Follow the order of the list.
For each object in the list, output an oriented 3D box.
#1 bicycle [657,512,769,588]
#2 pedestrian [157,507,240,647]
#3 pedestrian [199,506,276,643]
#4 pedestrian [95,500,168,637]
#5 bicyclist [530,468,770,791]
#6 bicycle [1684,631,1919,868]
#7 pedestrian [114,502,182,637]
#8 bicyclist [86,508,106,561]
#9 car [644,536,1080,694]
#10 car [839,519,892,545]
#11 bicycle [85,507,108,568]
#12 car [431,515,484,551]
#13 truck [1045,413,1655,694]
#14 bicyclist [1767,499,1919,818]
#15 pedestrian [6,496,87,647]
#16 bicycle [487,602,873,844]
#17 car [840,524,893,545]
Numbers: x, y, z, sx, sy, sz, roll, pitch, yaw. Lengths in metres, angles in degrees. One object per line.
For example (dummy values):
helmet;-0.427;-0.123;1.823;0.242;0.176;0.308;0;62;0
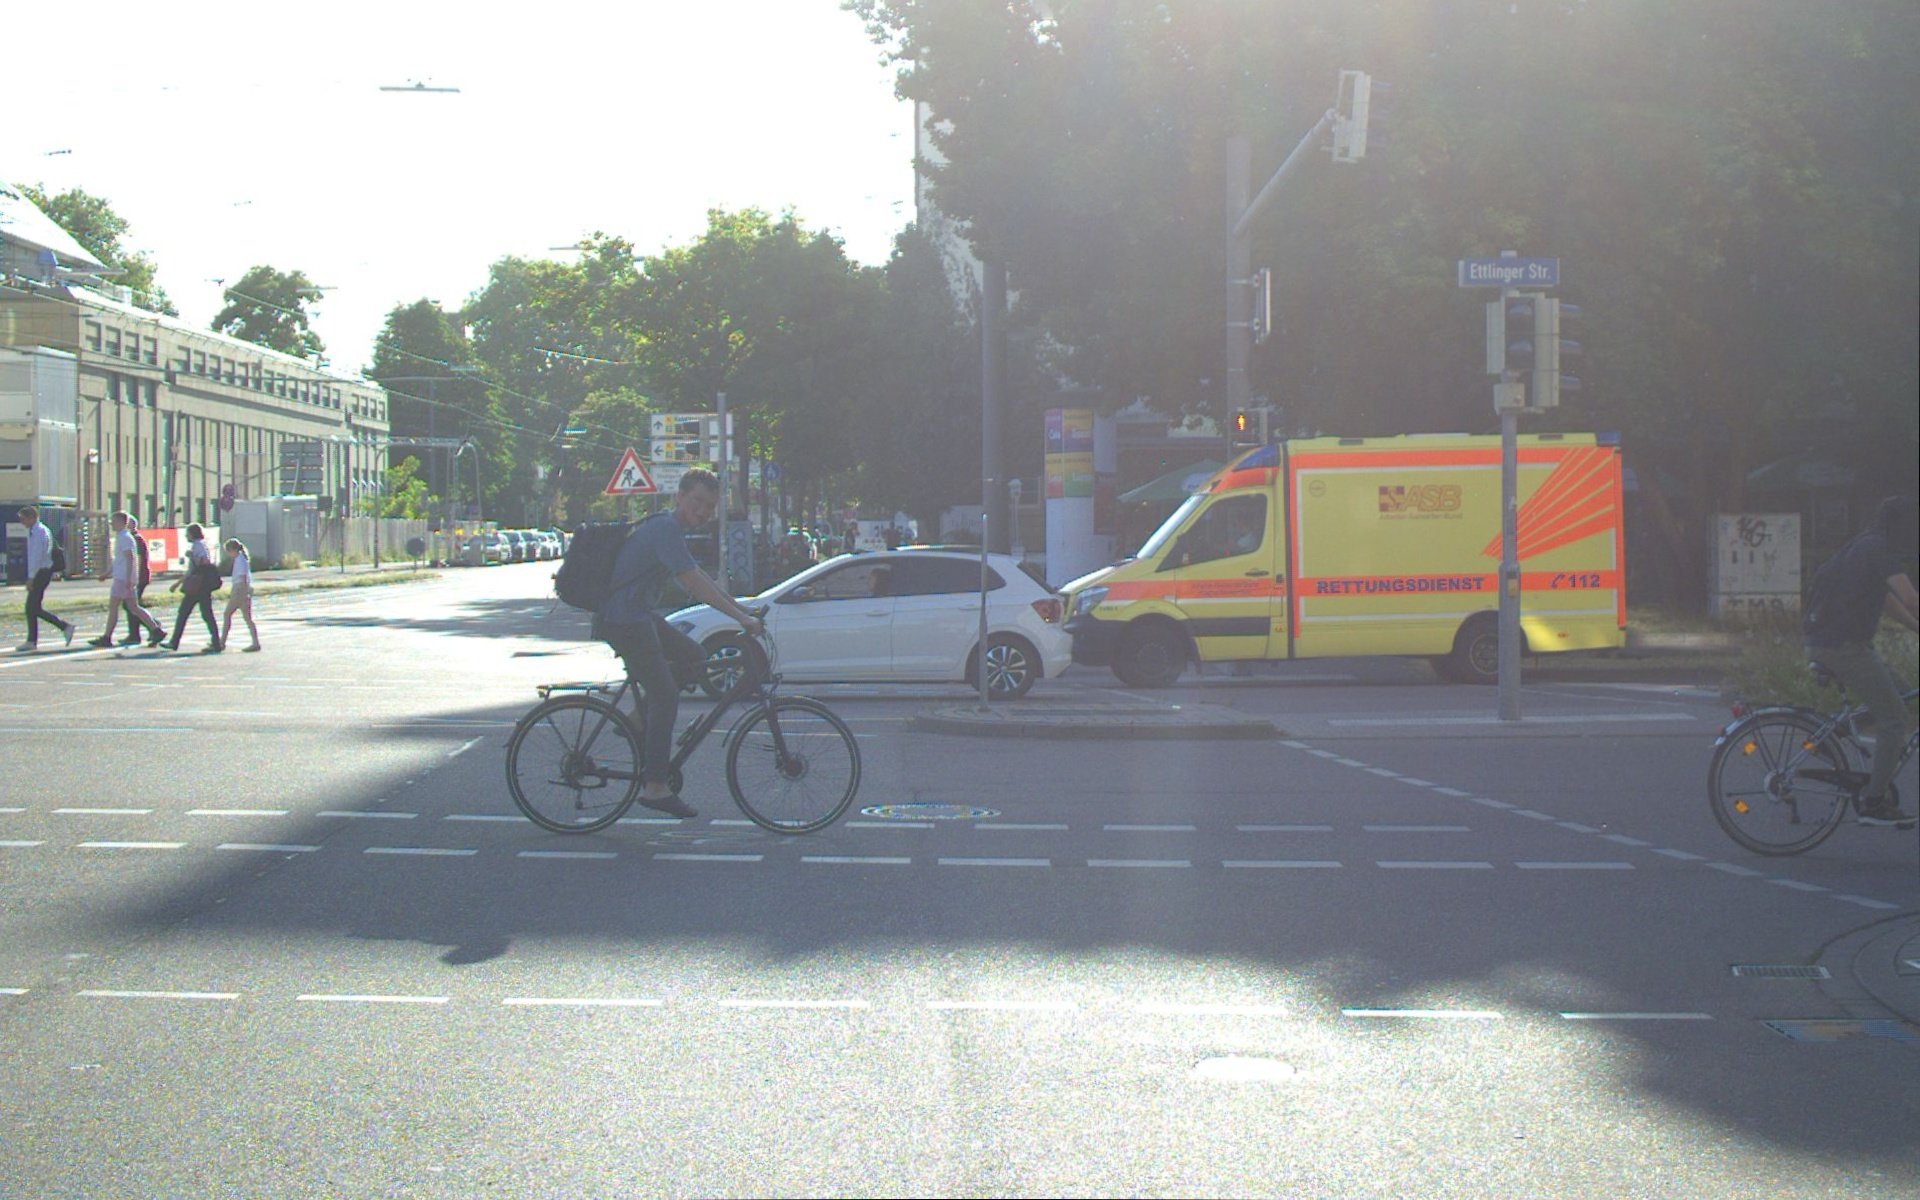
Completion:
bicycle;-5.847;-1.184;81.468;2.547;1.737;1.037;1;0;0
pedestrian;-9.856;-0.302;44.508;0.870;1.797;0.664;0;1;5
pedestrian;-9.546;-0.340;45.439;0.870;1.797;0.532;0;1;5
pedestrian;-10.942;-0.421;45.409;0.739;1.797;0.716;0;1;5
bicyclist;-1.585;0.138;17.460;1.123;1.589;0.767;1;2;-10
bicycle;4.518;0.719;16.801;1.813;1.081;0.766;0;3;3
pedestrian;-10.907;-0.410;46.182;0.739;1.797;0.532;0;1;5
bicyclist;-32.708;-2.479;130.138;0.571;2.017;0.762;0;1;-2
car;-0.944;0.134;32.802;4.042;1.429;1.632;0;0;-2
car;-5.894;-4.213;213.472;3.214;1.583;1.446;1;0;-4
bicycle;-32.709;-2.381;130.235;0.571;2.288;1.422;0;1;-2
car;-22.817;-3.027;156.280;1.894;1.601;4.501;-1;1;-2
truck;4.228;-0.526;38.318;6.467;3.005;2.725;0;1;-1
bicyclist;4.524;0.268;16.784;1.002;1.507;0.766;0;3;3
pedestrian;-11.625;-0.364;43.758;0.802;1.911;0.637;0;1;5
bicycle;-1.439;0.619;17.509;1.872;1.154;0.767;1;2;-10
car;-5.730;-4.028;211.183;3.217;1.259;1.373;1;0;-3
